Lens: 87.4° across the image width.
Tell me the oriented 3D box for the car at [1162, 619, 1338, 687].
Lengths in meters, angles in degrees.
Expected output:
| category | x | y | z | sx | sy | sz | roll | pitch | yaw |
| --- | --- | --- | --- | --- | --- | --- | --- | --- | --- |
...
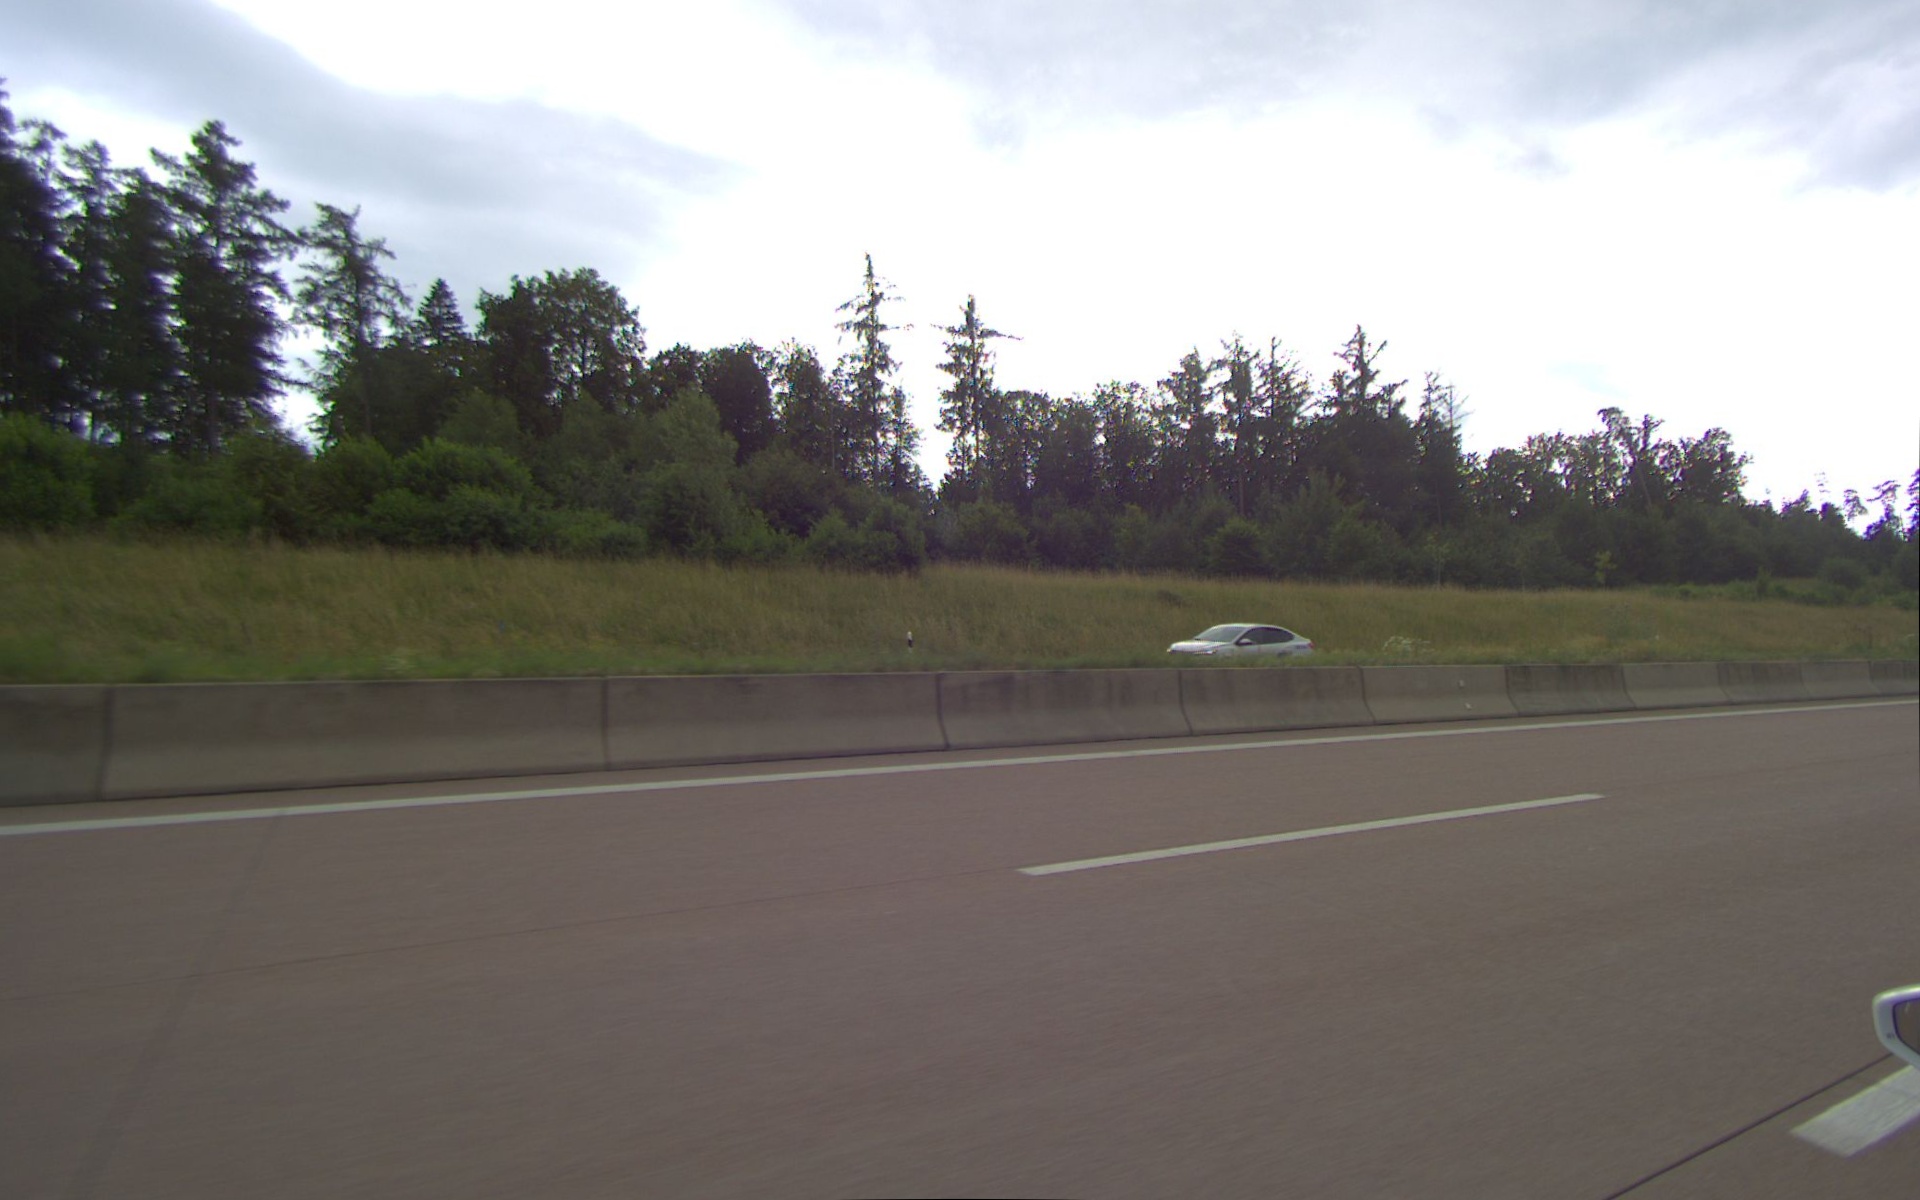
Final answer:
| category | x | y | z | sx | sy | sz | roll | pitch | yaw |
| --- | --- | --- | --- | --- | --- | --- | --- | --- | --- |
| car | 7.678 | 1.409 | 26.397 | 4.774 | 1.545 | 1.661 | 4 | -1 | -32 |
